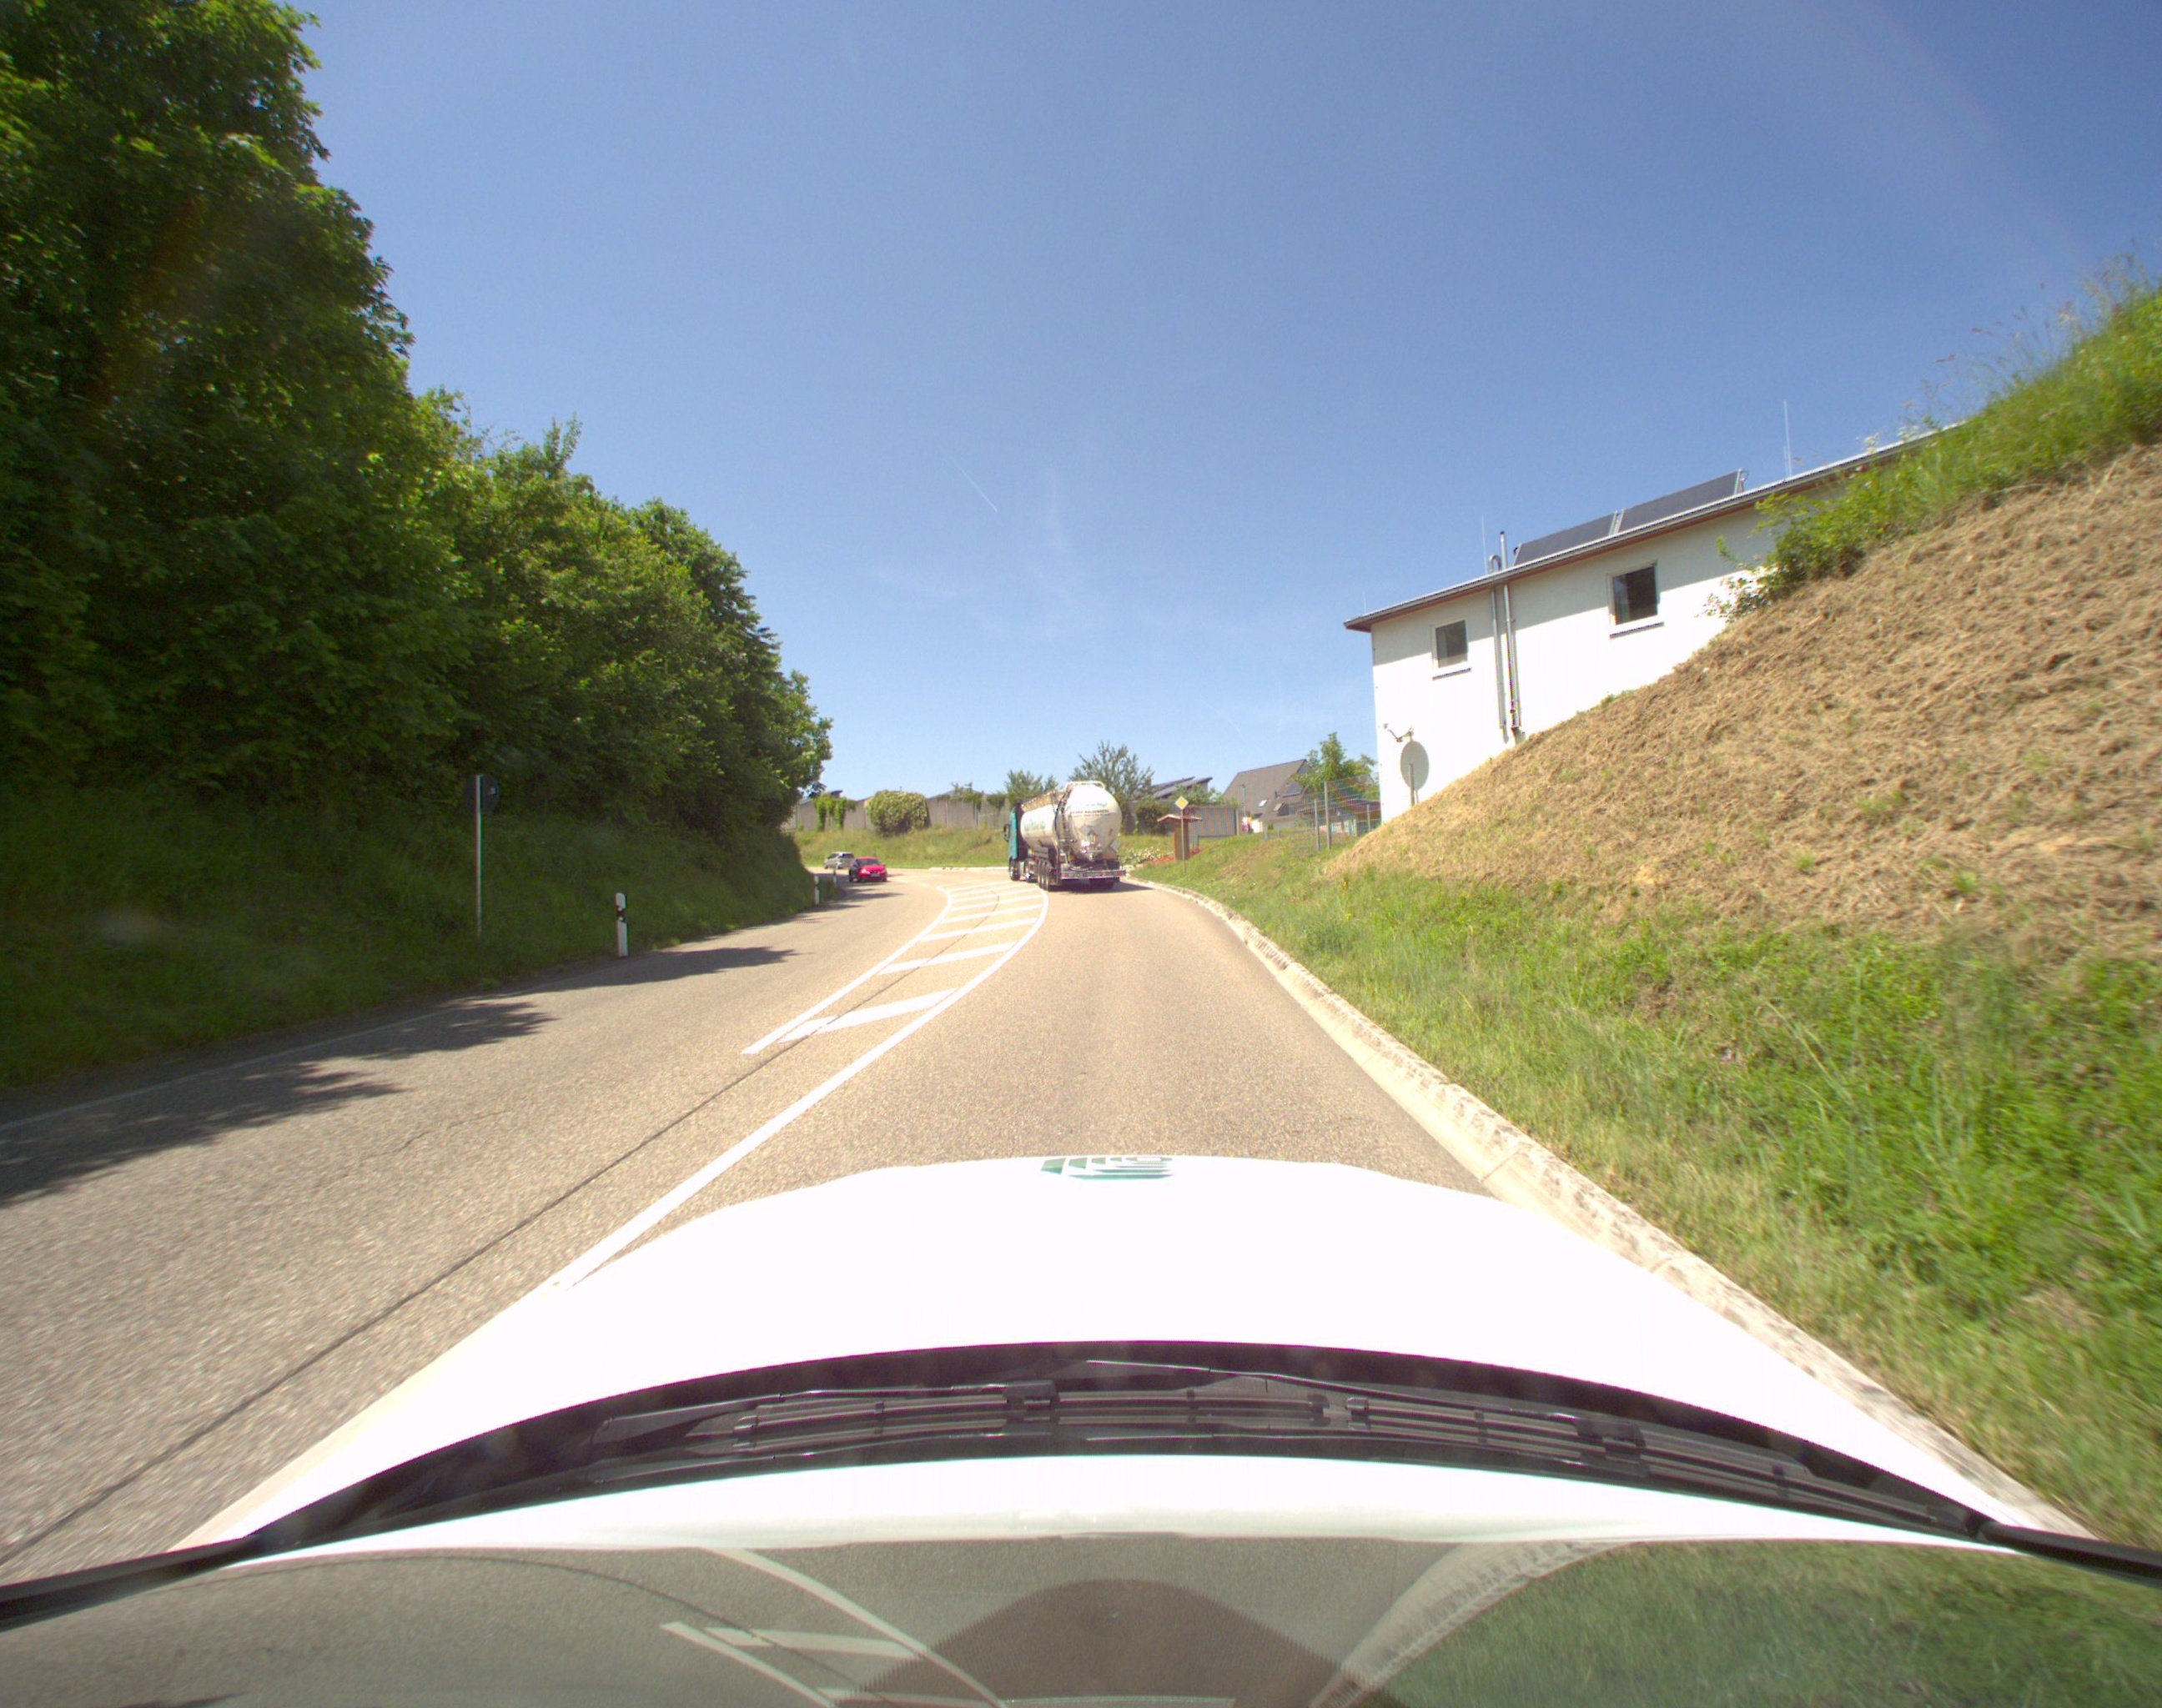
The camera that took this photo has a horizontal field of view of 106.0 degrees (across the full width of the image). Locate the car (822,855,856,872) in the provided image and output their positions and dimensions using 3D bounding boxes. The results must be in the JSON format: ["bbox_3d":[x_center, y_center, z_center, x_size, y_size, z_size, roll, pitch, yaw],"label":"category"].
[{"bbox_3d":[-21.605,0.842,72.725,1.661,1.509,3.597,2,-2,-38],"label":"car"}]

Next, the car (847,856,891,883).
[{"bbox_3d":[-12.606,0.892,48.269,1.759,1.448,3.967,-3,1,-25],"label":"car"}]

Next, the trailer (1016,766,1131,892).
[{"bbox_3d":[-0.694,-0.895,33.644,2.662,4.188,11.862,-3,1,-10],"label":"trailer"}]

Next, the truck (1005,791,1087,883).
[{"bbox_3d":[-1.864,-0.740,39.630,2.728,3.929,7.235,-3,0,-11],"label":"truck"}]
